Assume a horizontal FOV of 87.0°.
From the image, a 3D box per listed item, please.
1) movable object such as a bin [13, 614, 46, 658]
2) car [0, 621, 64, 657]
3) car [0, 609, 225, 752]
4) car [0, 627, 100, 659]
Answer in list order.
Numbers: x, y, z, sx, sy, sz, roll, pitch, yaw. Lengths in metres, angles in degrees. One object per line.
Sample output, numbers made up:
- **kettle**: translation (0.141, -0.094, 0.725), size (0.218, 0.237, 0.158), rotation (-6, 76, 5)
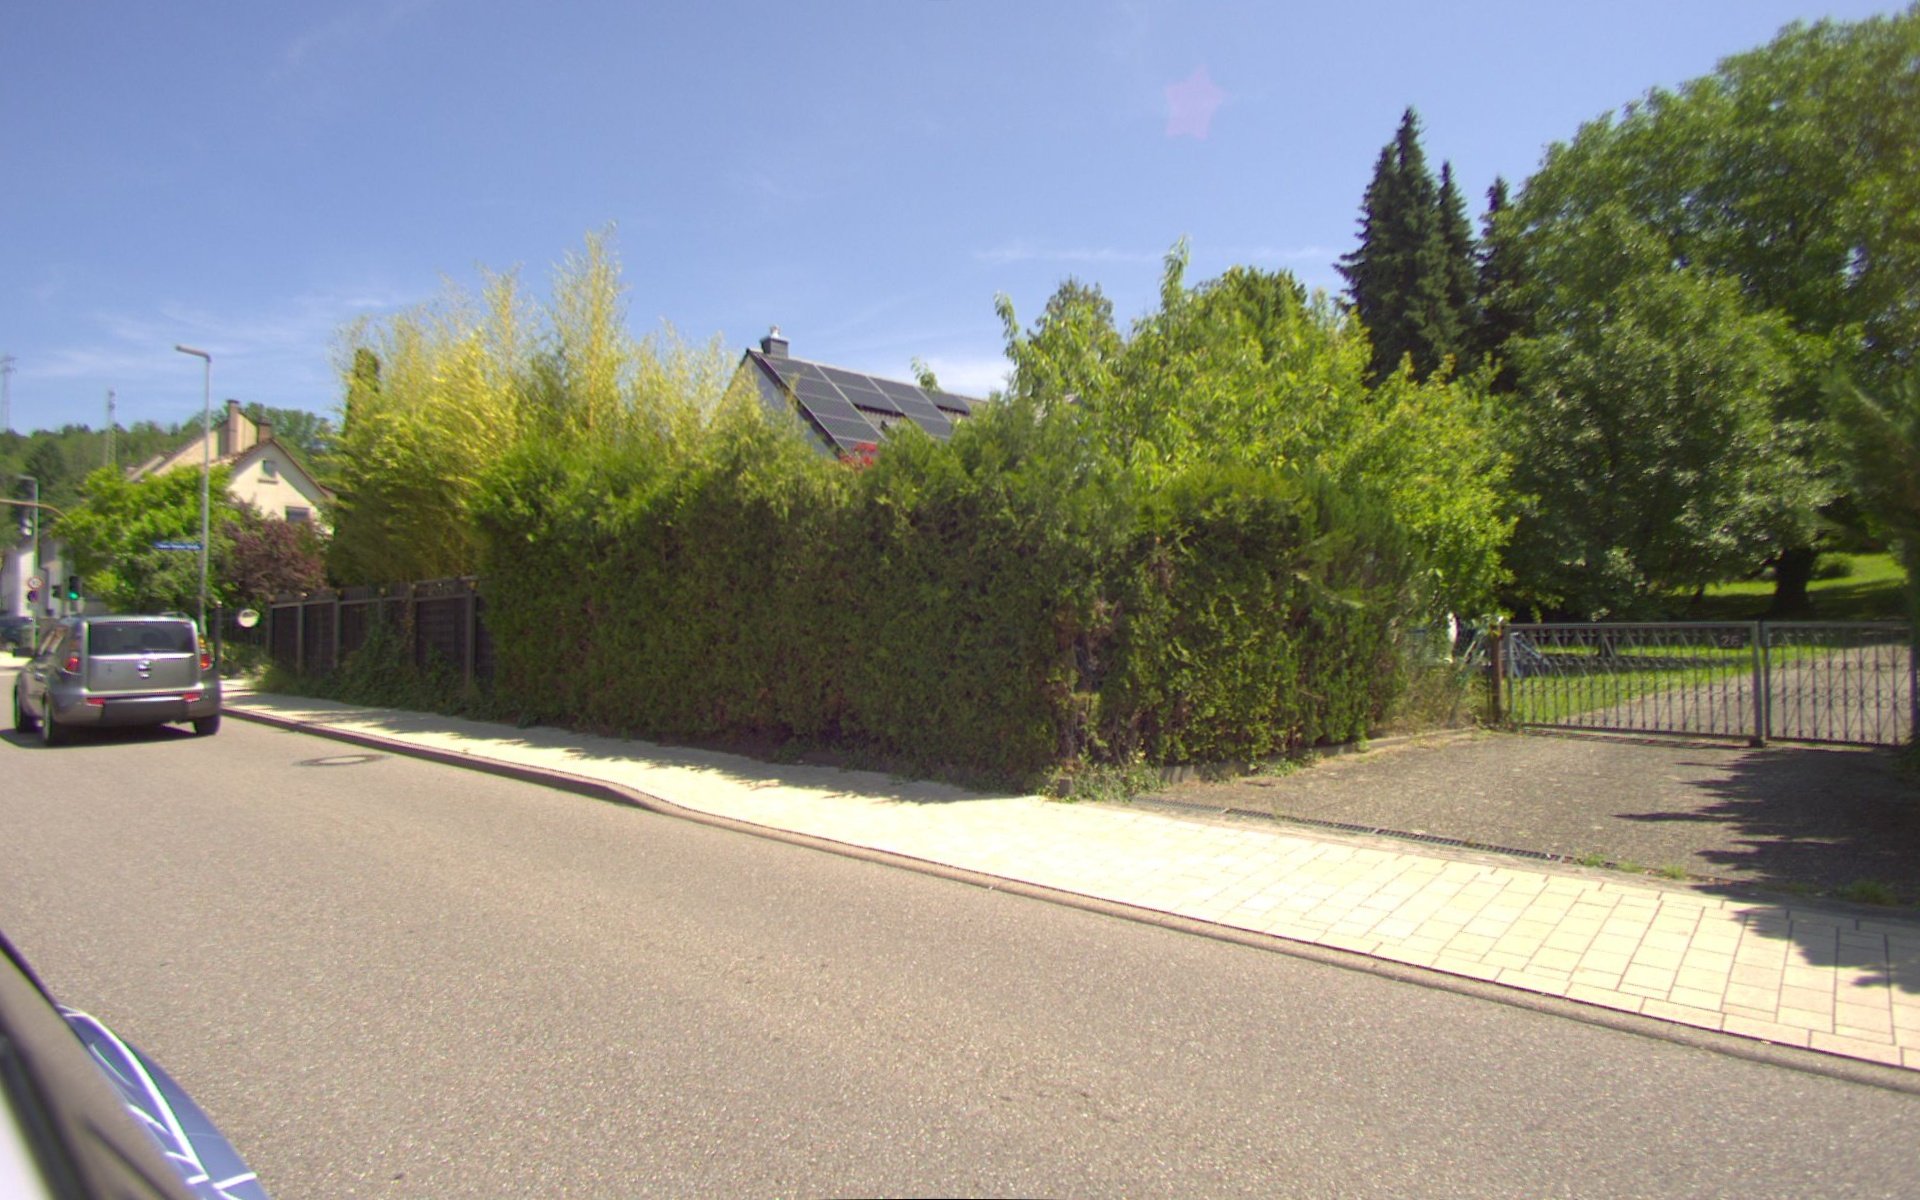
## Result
- **movable object such as a bin**: translation (-44.539, 1.705, 48.439), size (1.323, 2.029, 1.048), rotation (-1, -1, 42)
- **car**: translation (-48.909, 2.004, 52.389), size (1.847, 1.804, 3.560), rotation (-1, -1, 40)
- **car**: translation (-11.677, 1.003, 13.820), size (3.947, 1.665, 1.848), rotation (-2, -2, 42)
- **car**: translation (-45.341, 2.114, 50.066), size (3.986, 1.511, 1.707), rotation (0, 0, -10)
